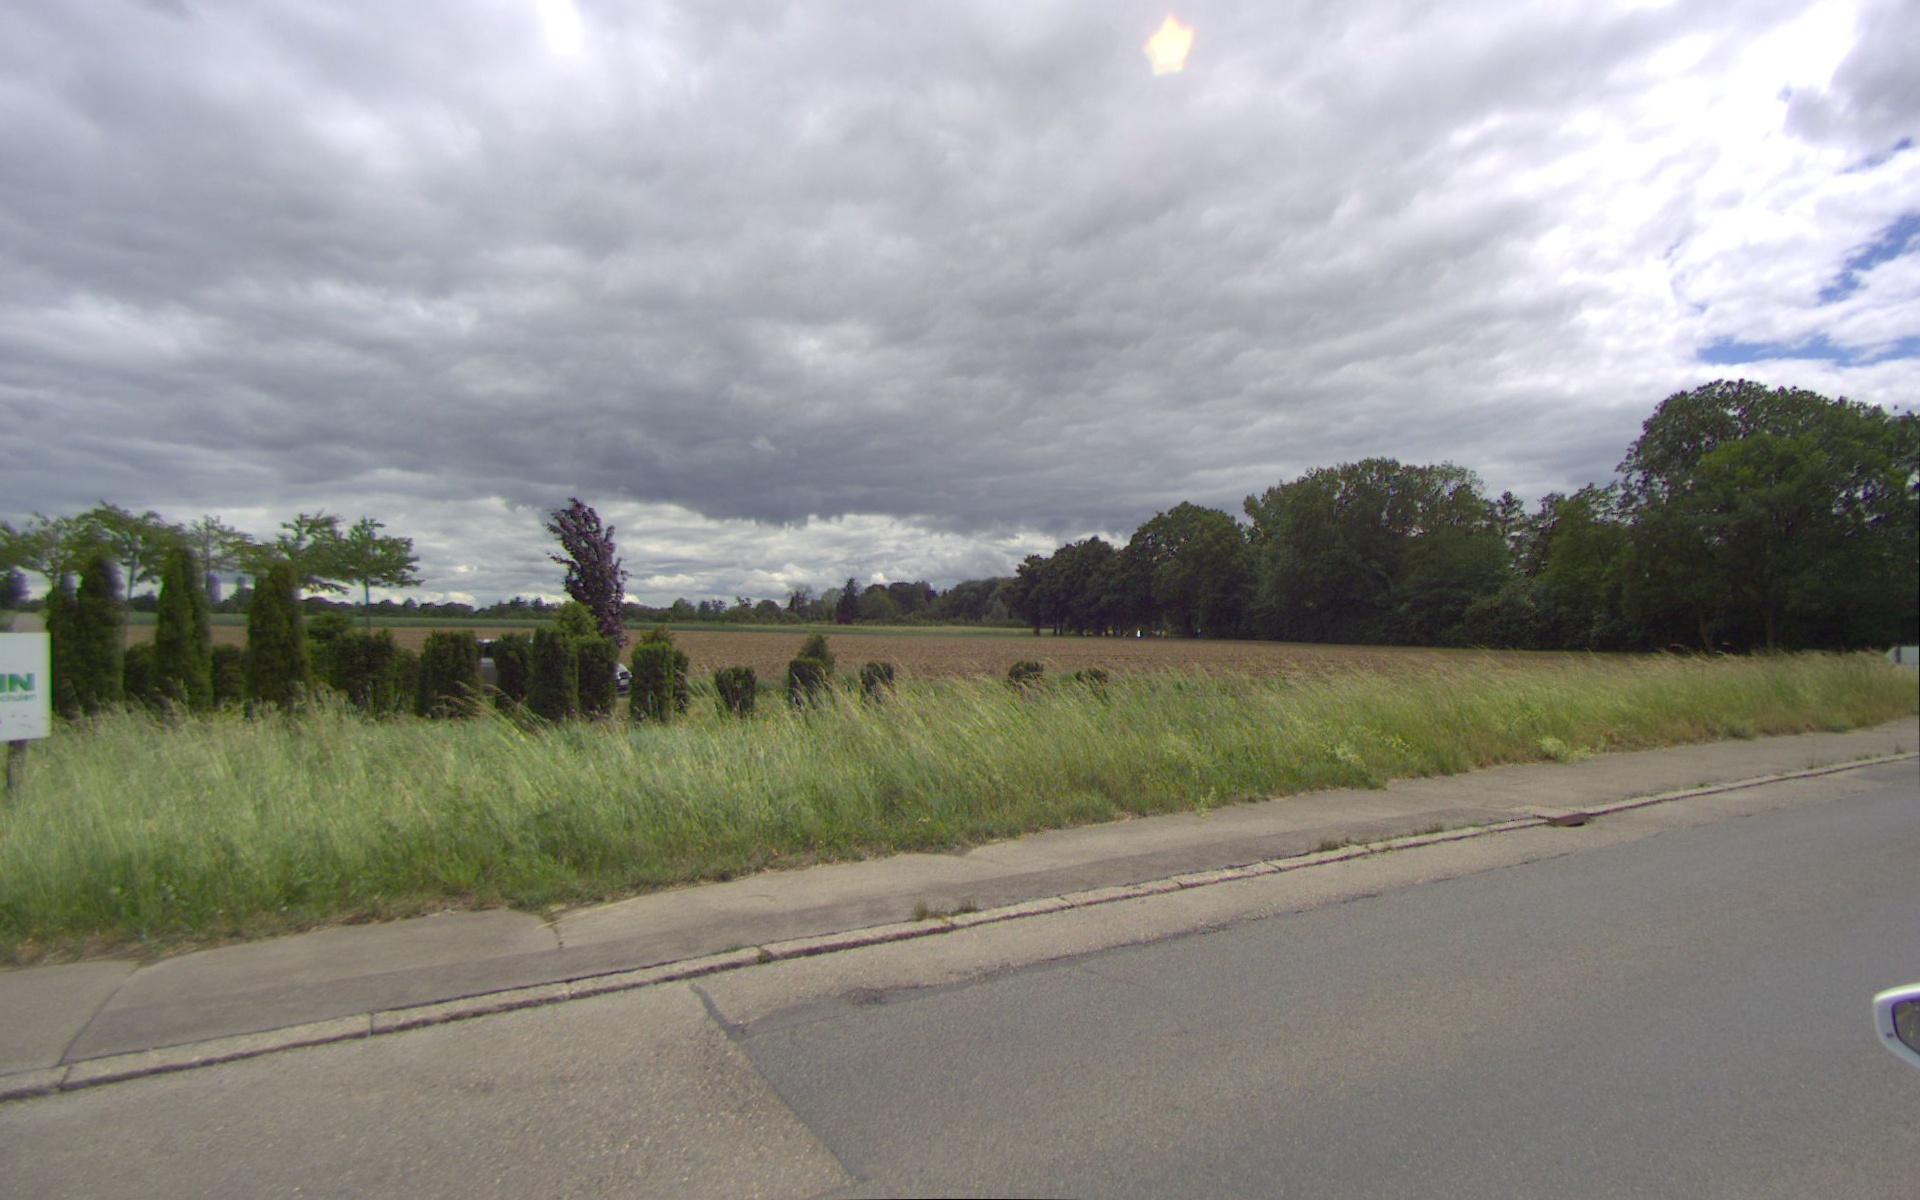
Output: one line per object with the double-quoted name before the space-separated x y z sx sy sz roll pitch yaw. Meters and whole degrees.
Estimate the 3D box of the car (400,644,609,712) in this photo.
"car" -10.443 1.760 23.276 3.923 1.473 1.975 0 -2 -3
